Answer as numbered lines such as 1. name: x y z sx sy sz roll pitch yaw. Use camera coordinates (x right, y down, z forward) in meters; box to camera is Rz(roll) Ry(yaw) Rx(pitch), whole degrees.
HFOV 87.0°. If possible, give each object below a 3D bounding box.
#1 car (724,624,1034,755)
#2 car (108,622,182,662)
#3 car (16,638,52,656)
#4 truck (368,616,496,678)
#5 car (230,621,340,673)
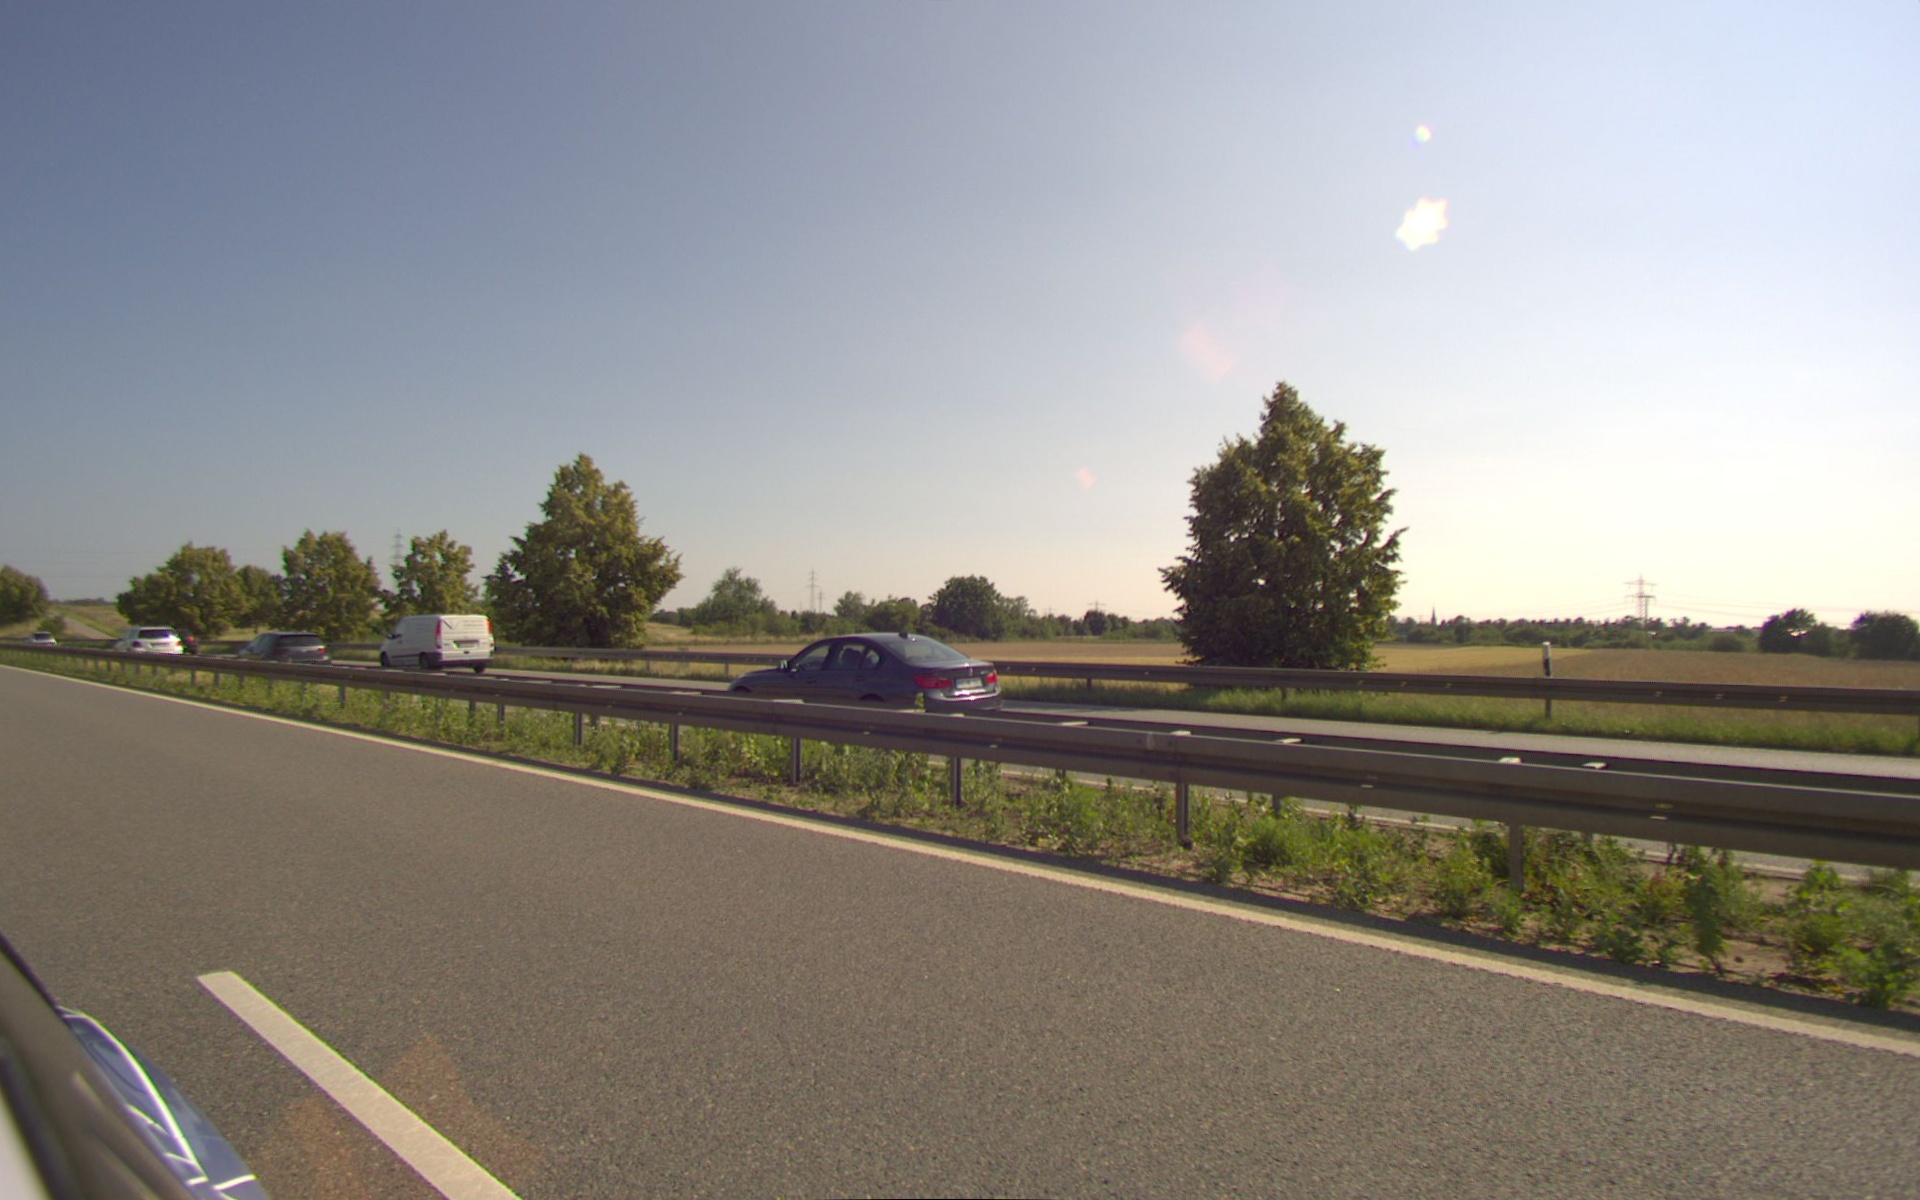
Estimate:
1. car: -1.260 1.112 14.174 4.453 1.553 1.793 -1 -2 42
2. car: -36.169 1.815 44.866 4.719 1.677 1.820 -1 -1 41
3. car: -76.802 3.899 83.925 3.935 1.448 1.674 -2 -2 39
4. truck: -17.338 1.523 33.113 5.289 1.854 1.902 -2 -2 41
5. car: -21.078 1.443 31.544 4.035 1.457 1.820 -2 0 41
